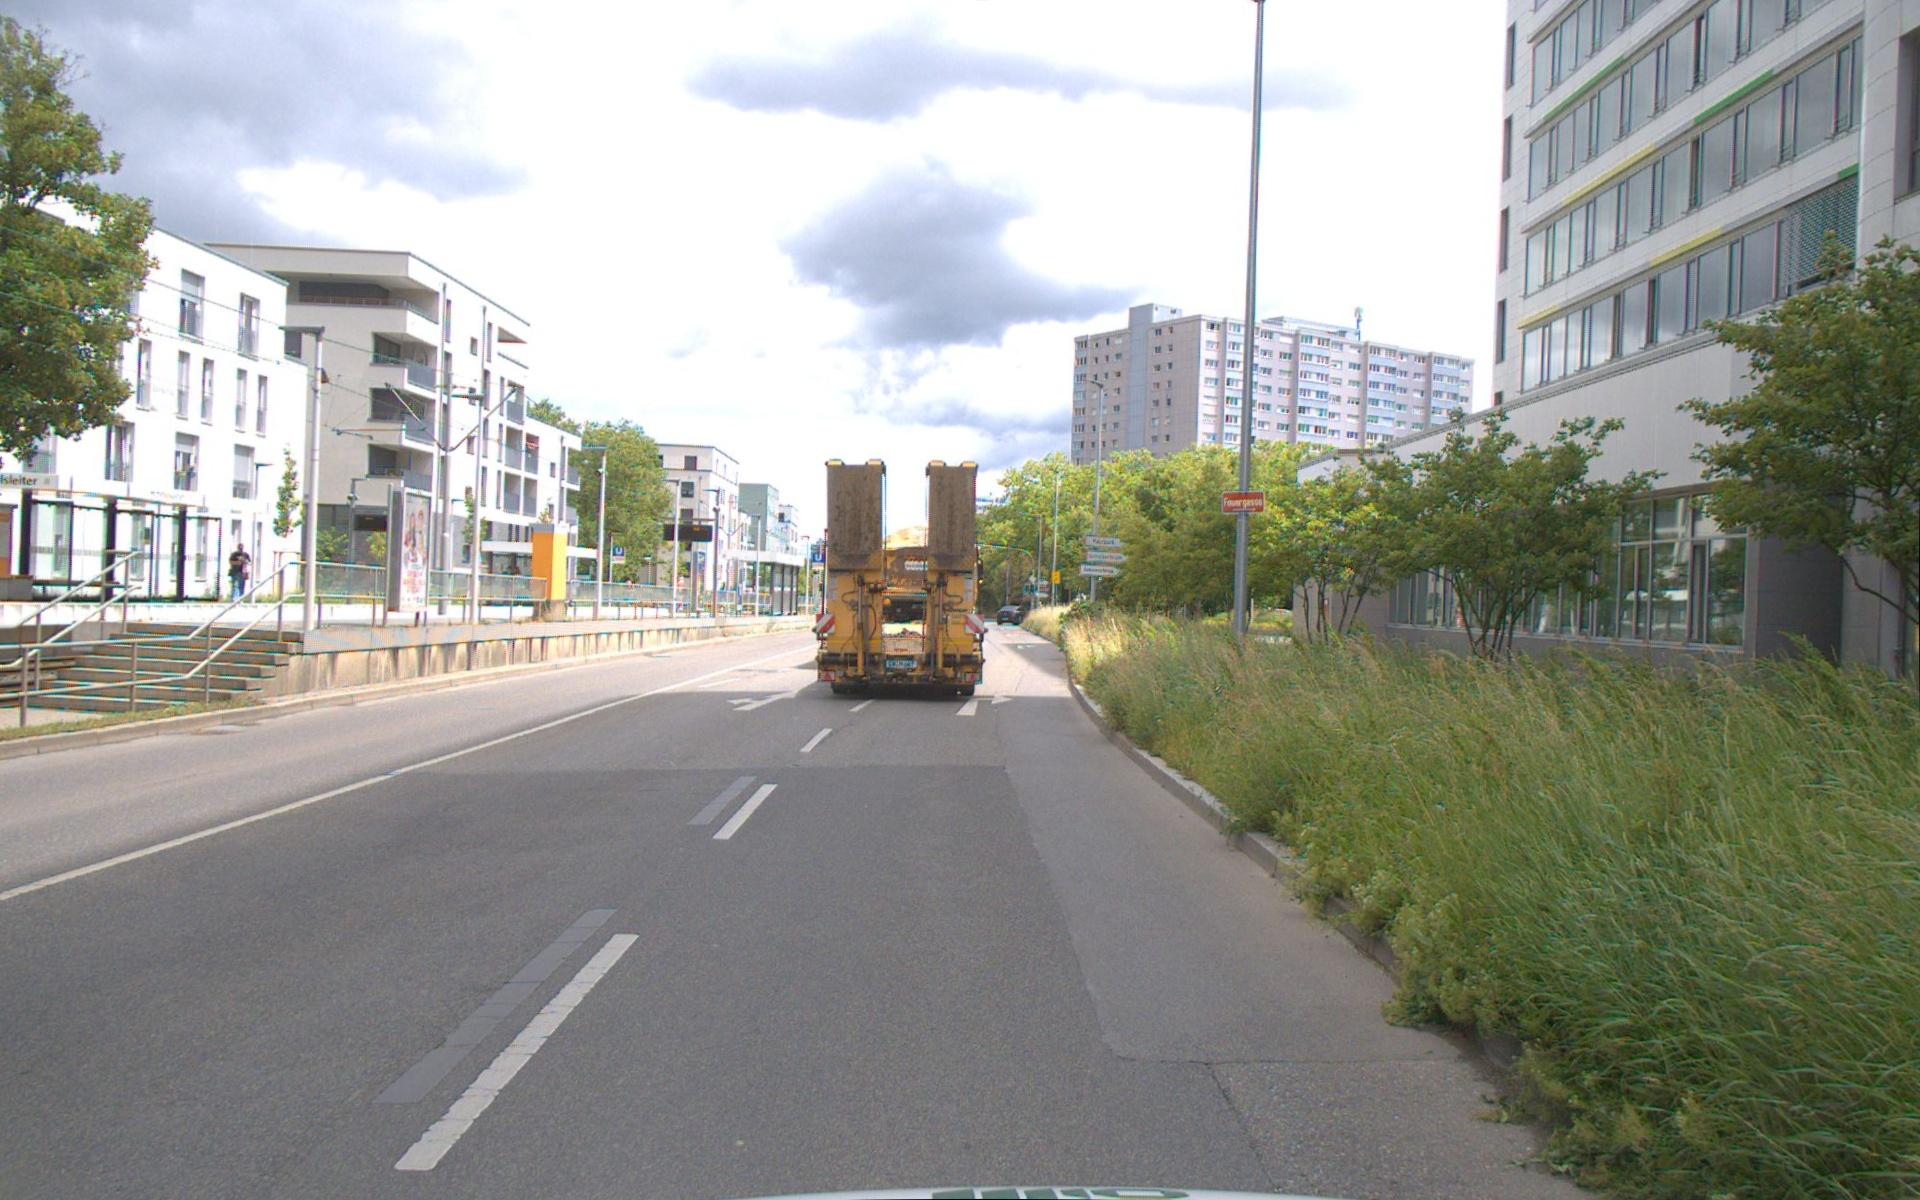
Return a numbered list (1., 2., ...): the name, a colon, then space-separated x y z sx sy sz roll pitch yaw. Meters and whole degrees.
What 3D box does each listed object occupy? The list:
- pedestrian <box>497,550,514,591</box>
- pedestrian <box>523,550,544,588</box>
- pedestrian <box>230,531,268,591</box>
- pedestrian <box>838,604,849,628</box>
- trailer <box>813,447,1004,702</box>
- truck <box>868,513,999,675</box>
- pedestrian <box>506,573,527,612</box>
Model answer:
1. pedestrian: -19.721 -1.271 71.816 0.483 1.755 0.670 2 -1 -34
2. pedestrian: -18.752 -1.369 72.734 0.479 1.624 0.675 1 -1 35
3. pedestrian: -19.185 -1.047 44.635 0.726 1.558 0.547 2 -1 3
4. pedestrian: -8.143 1.097 115.301 0.667 1.631 0.823 2 -1 0
5. trailer: -0.689 -0.341 29.679 2.673 3.621 11.254 2 0 1
6. truck: -0.531 -0.103 39.478 2.697 3.371 8.351 2 0 0
7. pedestrian: -19.160 -0.320 71.400 0.480 1.624 0.673 1 -1 43
